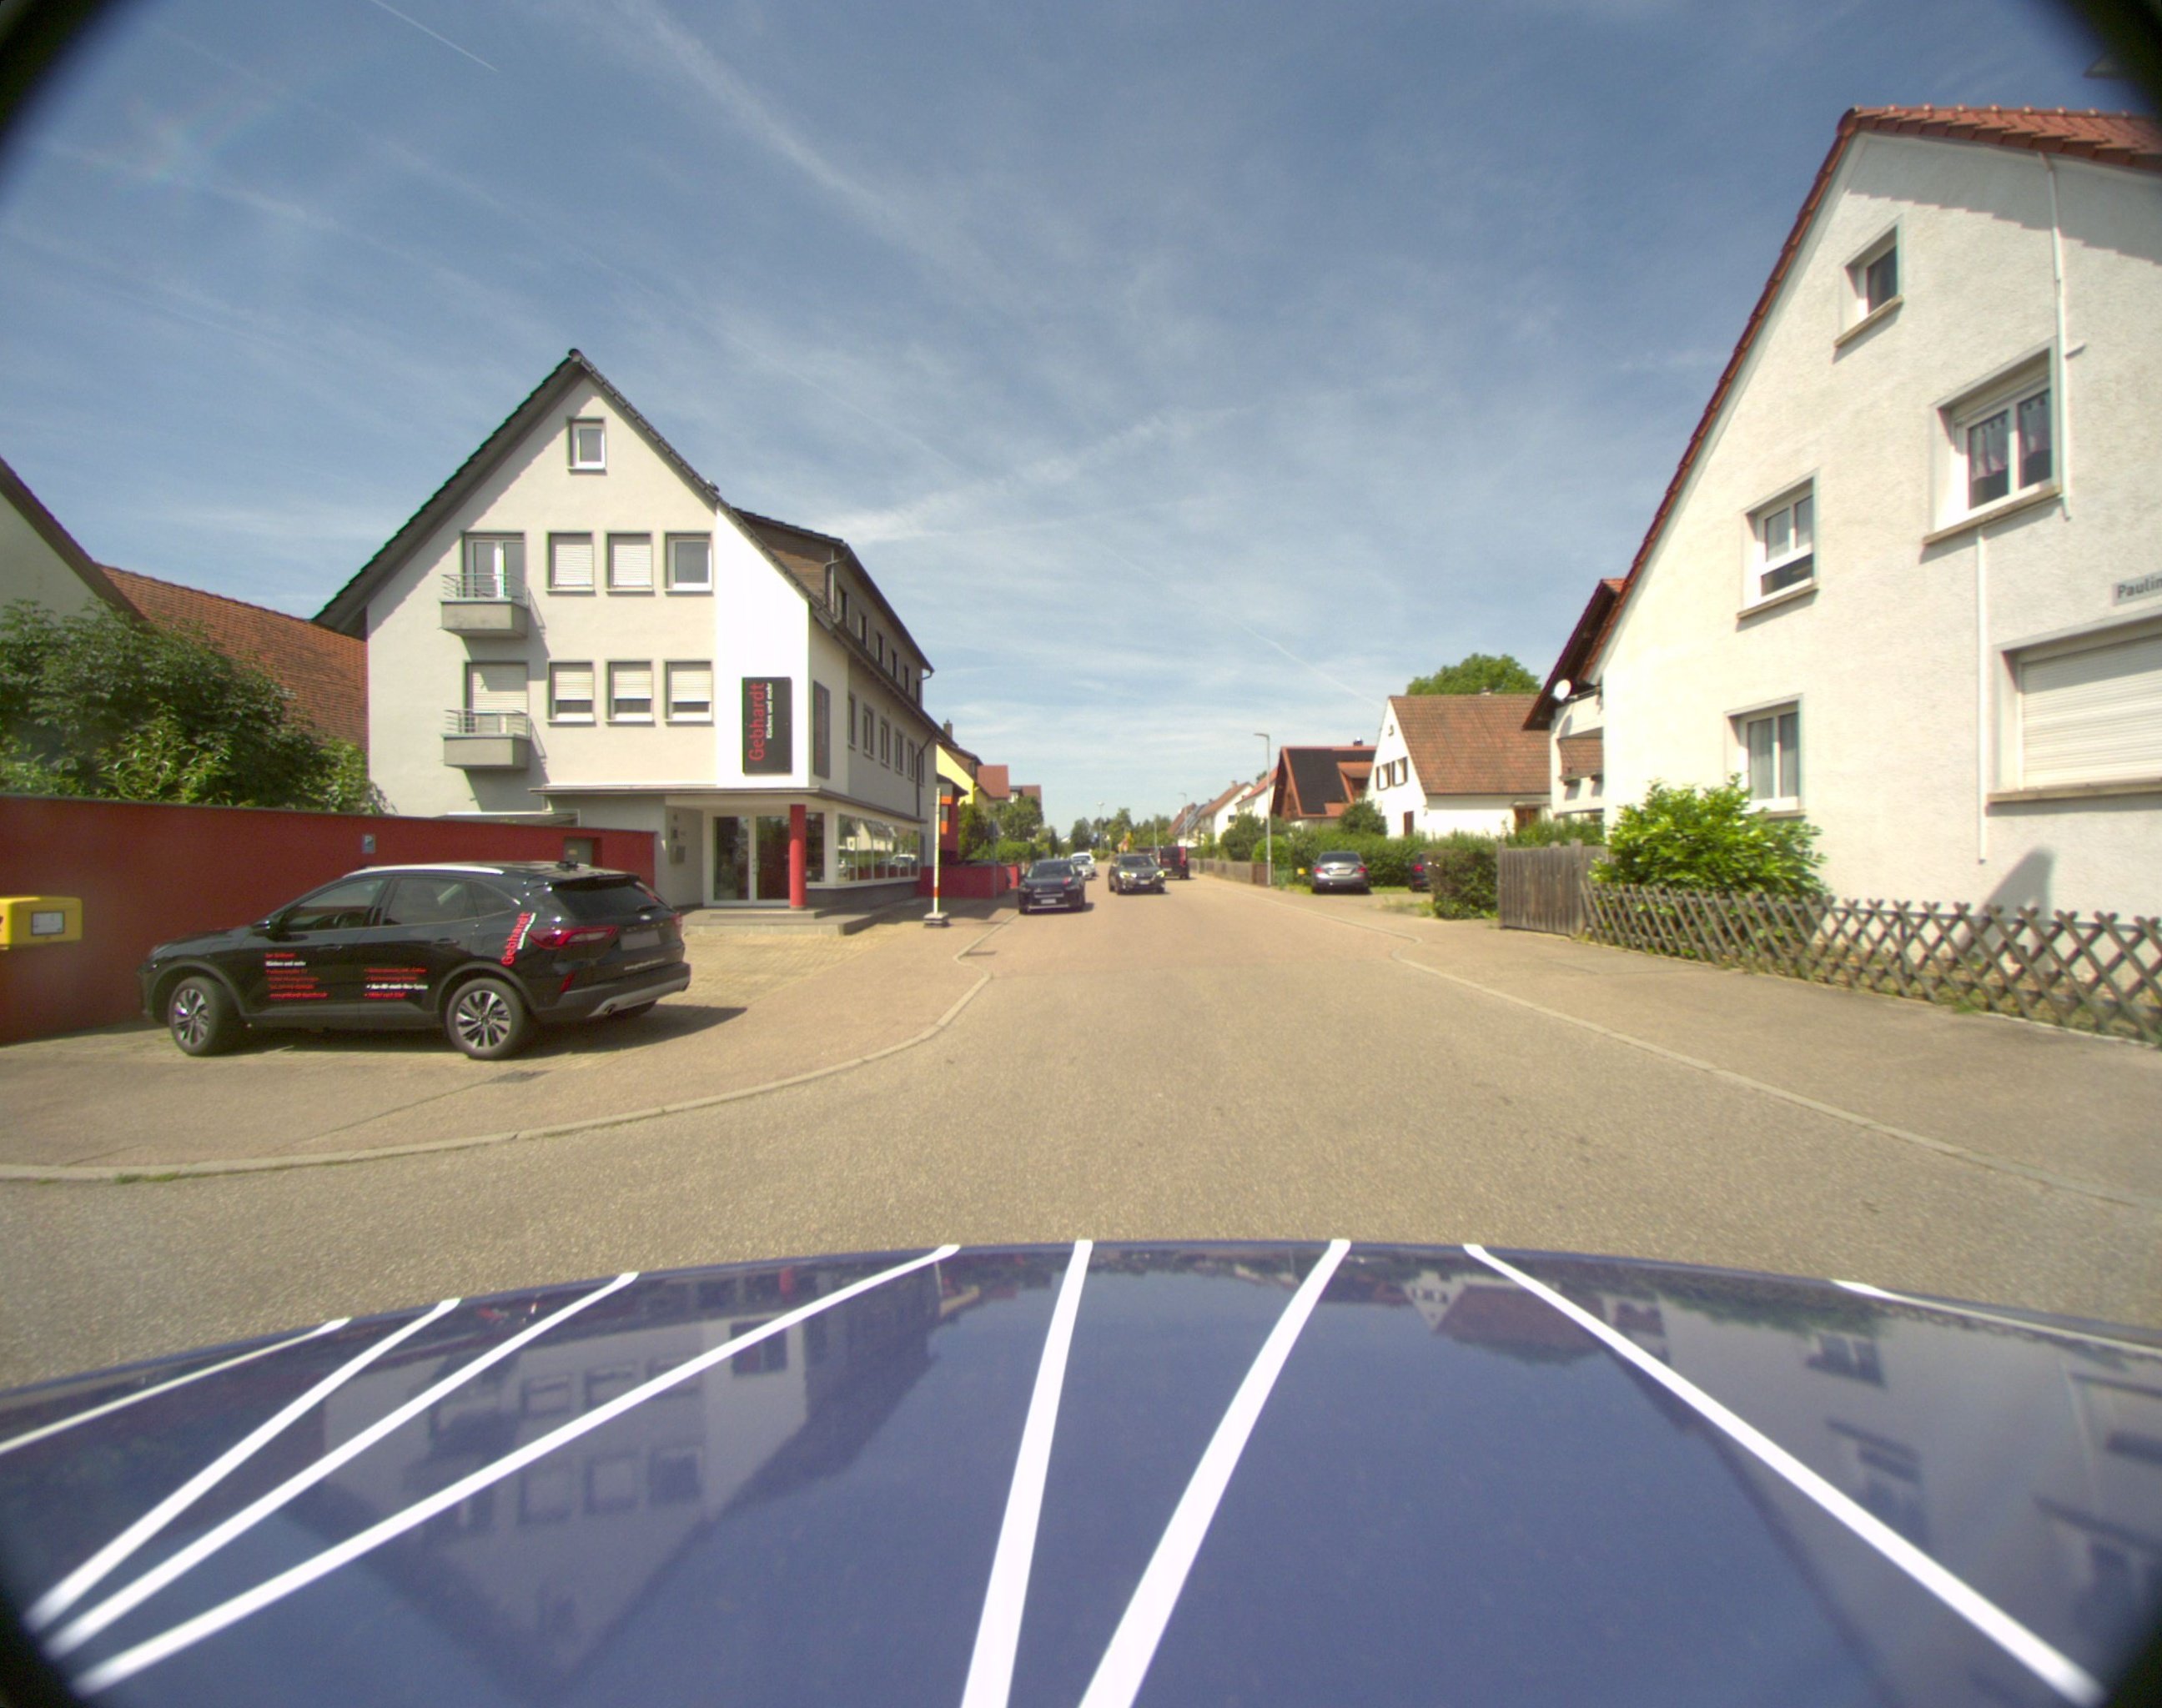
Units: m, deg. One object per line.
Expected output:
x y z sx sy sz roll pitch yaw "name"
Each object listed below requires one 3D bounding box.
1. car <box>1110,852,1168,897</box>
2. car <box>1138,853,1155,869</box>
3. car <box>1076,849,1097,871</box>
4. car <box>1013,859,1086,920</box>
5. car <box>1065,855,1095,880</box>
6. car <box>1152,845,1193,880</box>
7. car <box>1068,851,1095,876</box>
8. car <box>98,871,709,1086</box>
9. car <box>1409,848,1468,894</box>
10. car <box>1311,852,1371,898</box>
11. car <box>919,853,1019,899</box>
2.274 0.748 30.679 1.838 1.638 4.322 -2 0 -2 "car"
6.497 0.686 75.987 1.601 1.450 3.661 -1 0 4 "car"
0.522 0.505 66.213 1.670 1.739 4.056 -2 0 2 "car"
-0.809 0.952 22.259 1.766 1.518 4.406 -2 0 2 "car"
-0.010 0.811 47.798 1.755 1.412 4.421 -3 0 1 "car"
5.403 0.458 45.402 1.973 1.940 4.696 -1 0 2 "car"
0.061 0.628 53.916 1.740 1.652 4.337 -2 0 2 "car"
-6.109 1.057 7.159 4.302 1.644 1.849 -1 1 6 "car"
12.554 0.550 26.843 1.691 1.492 3.657 -1 0 22 "car"
9.136 0.690 26.883 1.829 1.423 4.569 -1 0 18 "car"
-5.337 1.026 36.739 4.378 1.659 1.876 -7 1 0 "car"
